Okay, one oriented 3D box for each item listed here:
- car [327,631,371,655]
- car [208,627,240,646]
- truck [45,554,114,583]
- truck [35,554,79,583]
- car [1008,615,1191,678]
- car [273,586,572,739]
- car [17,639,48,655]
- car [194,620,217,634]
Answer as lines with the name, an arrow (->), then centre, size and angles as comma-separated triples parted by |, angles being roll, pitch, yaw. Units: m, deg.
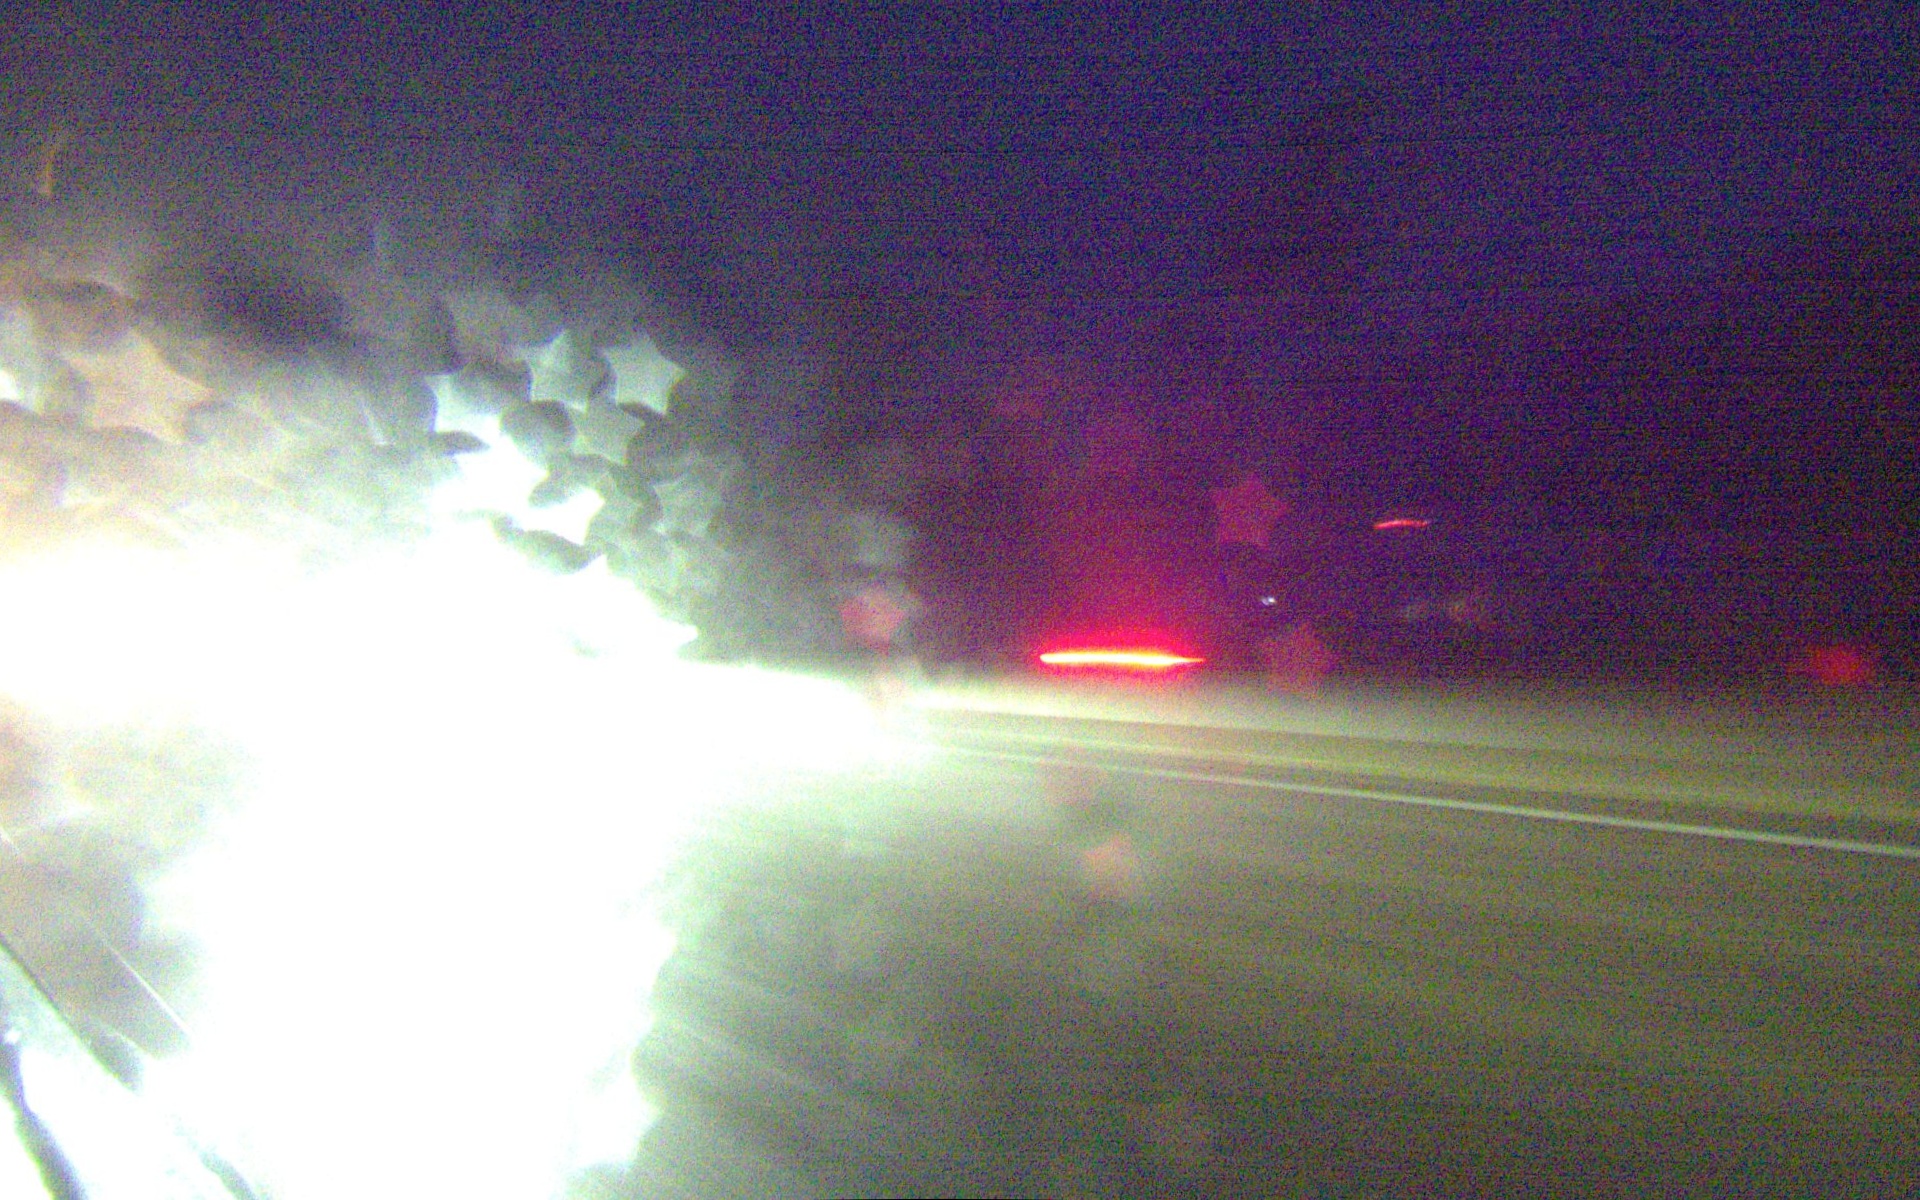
car -> -44.271, 3.114, 73.281 | 4.002, 1.644, 1.752 | -2, -3, 45
car -> -68.477, 3.371, 94.157 | 4.002, 1.644, 1.752 | 1, -2, 45
truck -> -121.524, -4.301, 139.659 | 11.158, 3.808, 2.399 | 1, -2, 23
truck -> -126.381, -4.398, 141.701 | 5.395, 3.808, 2.399 | 1, -2, 23
car -> 3.067, 0.998, 22.635 | 3.759, 1.246, 1.645 | 0, -2, 40
car -> -8.245, 0.795, 15.233 | 5.553, 1.899, 2.114 | 0, -2, 41
car -> -78.902, 3.973, 86.094 | 3.992, 1.304, 1.688 | -3, -4, 44
car -> -93.927, 3.377, 125.993 | 4.002, 1.644, 1.752 | 1, -2, 45
